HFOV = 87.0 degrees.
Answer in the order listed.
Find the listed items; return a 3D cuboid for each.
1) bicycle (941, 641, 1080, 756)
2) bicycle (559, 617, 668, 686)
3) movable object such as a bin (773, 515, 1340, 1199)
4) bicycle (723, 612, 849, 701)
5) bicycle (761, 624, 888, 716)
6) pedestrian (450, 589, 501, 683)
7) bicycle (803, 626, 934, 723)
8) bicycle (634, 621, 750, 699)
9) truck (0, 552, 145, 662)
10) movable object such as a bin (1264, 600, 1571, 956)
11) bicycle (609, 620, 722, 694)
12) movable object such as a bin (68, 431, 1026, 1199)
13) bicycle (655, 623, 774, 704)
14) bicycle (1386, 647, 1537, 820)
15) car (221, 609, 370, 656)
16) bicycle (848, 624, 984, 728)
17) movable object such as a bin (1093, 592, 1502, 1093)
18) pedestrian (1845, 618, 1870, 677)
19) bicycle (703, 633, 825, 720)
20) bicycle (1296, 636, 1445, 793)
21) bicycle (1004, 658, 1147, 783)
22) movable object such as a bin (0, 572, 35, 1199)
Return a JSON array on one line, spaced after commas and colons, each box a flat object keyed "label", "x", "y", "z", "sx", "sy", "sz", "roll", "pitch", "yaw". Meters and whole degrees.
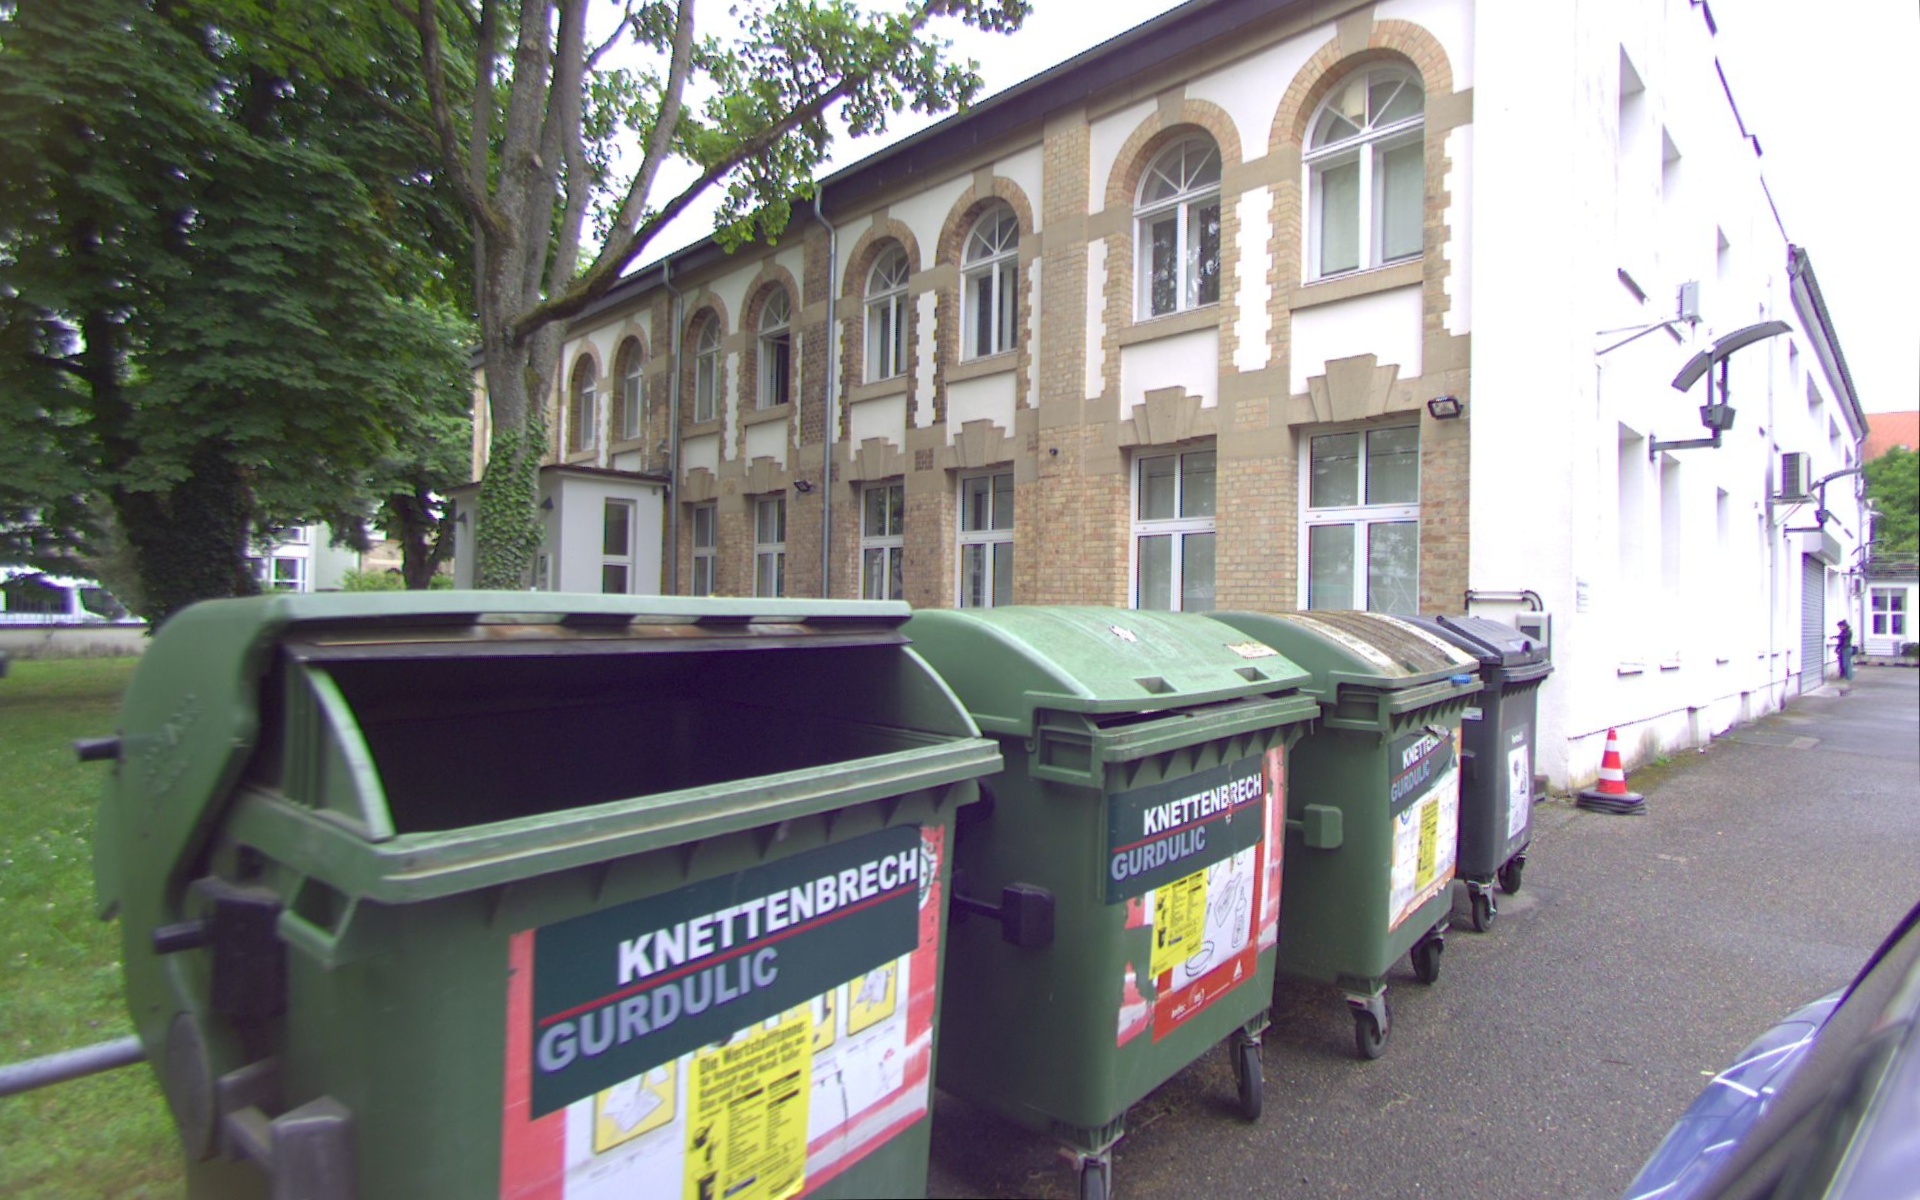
[{"label": "bicycle", "x": 0.587, "y": 1.037, "z": 11.101, "sx": 1.715, "sy": 1.129, "sz": 0.459, "roll": 1, "pitch": -1, "yaw": -43}, {"label": "bicycle", "x": -5.889, "y": 0.854, "z": 17.269, "sx": 1.715, "sy": 1.129, "sz": 0.459, "roll": 1, "pitch": -1, "yaw": -43}, {"label": "movable object such as a bin", "x": 0.317, "y": 0.568, "z": 2.933, "sx": 1.104, "sy": 1.469, "sz": 1.275, "roll": 0, "pitch": -1, "yaw": 41}, {"label": "bicycle", "x": -2.344, "y": 0.736, "z": 13.762, "sx": 1.715, "sy": 1.129, "sz": 0.459, "roll": 1, "pitch": -1, "yaw": -43}, {"label": "bicycle", "x": -1.758, "y": 0.888, "z": 13.333, "sx": 1.715, "sy": 1.129, "sz": 0.459, "roll": 1, "pitch": -1, "yaw": -43}, {"label": "pedestrian", "x": -8.471, "y": 0.613, "z": 17.692, "sx": 0.625, "sy": 1.607, "sz": 0.594, "roll": 0, "pitch": -1, "yaw": 45}, {"label": "bicycle", "x": -1.118, "y": 0.894, "z": 12.661, "sx": 1.715, "sy": 1.129, "sz": 0.459, "roll": 1, "pitch": -1, "yaw": -43}, {"label": "bicycle", "x": -4.120, "y": 0.902, "z": 15.673, "sx": 1.715, "sy": 1.129, "sz": 0.459, "roll": 1, "pitch": -1, "yaw": -43}, {"label": "truck", "x": -23.349, "y": 0.162, "z": 24.805, "sx": 2.140, "sy": 2.578, "sz": 4.901, "roll": 1, "pitch": 0, "yaw": 17}, {"label": "movable object such as a bin", "x": 2.325, "y": 0.747, "z": 5.079, "sx": 1.103, "sy": 1.469, "sz": 1.343, "roll": 0, "pitch": -1, "yaw": 39}, {"label": "bicycle", "x": -4.704, "y": 0.887, "z": 16.248, "sx": 1.715, "sy": 1.129, "sz": 0.459, "roll": 1, "pitch": -1, "yaw": -43}, {"label": "movable object such as a bin", "x": -0.681, "y": 0.564, "z": 1.893, "sx": 1.102, "sy": 1.469, "sz": 1.269, "roll": 0, "pitch": -1, "yaw": 36}, {"label": "bicycle", "x": -3.641, "y": 0.923, "z": 15.128, "sx": 1.715, "sy": 1.129, "sz": 0.459, "roll": 1, "pitch": -1, "yaw": -43}, {"label": "bicycle", "x": 3.832, "y": 0.948, "z": 7.663, "sx": 1.715, "sy": 1.129, "sz": 0.459, "roll": 1, "pitch": -1, "yaw": -43}, {"label": "car", "x": -21.003, "y": 0.988, "z": 32.183, "sx": 1.785, "sy": 1.371, "sz": 3.795, "roll": 1, "pitch": 0, "yaw": 13}, {"label": "bicycle", "x": -0.489, "y": 0.857, "z": 11.949, "sx": 1.715, "sy": 1.129, "sz": 0.459, "roll": 1, "pitch": -1, "yaw": -43}, {"label": "movable object such as a bin", "x": 1.322, "y": 0.720, "z": 3.850, "sx": 1.103, "sy": 1.469, "sz": 1.308, "roll": 0, "pitch": -1, "yaw": 38}, {"label": "pedestrian", "x": 24.569, "y": 1.281, "z": 27.706, "sx": 0.497, "sy": 1.582, "sz": 0.423, "roll": 0, "pitch": -1, "yaw": 41}, {"label": "bicycle", "x": -2.754, "y": 1.053, "z": 14.341, "sx": 1.715, "sy": 1.129, "sz": 0.459, "roll": 1, "pitch": -1, "yaw": -43}, {"label": "bicycle", "x": 3.385, "y": 0.878, "z": 8.274, "sx": 1.715, "sy": 1.129, "sz": 0.459, "roll": 1, "pitch": -1, "yaw": -43}, {"label": "bicycle", "x": 1.222, "y": 1.196, "z": 10.448, "sx": 1.715, "sy": 1.129, "sz": 0.459, "roll": 1, "pitch": -1, "yaw": -43}, {"label": "movable object such as a bin", "x": -1.679, "y": 0.684, "z": 0.783, "sx": 1.251, "sy": 1.452, "sz": 1.072, "roll": 1, "pitch": -1, "yaw": -34}]
